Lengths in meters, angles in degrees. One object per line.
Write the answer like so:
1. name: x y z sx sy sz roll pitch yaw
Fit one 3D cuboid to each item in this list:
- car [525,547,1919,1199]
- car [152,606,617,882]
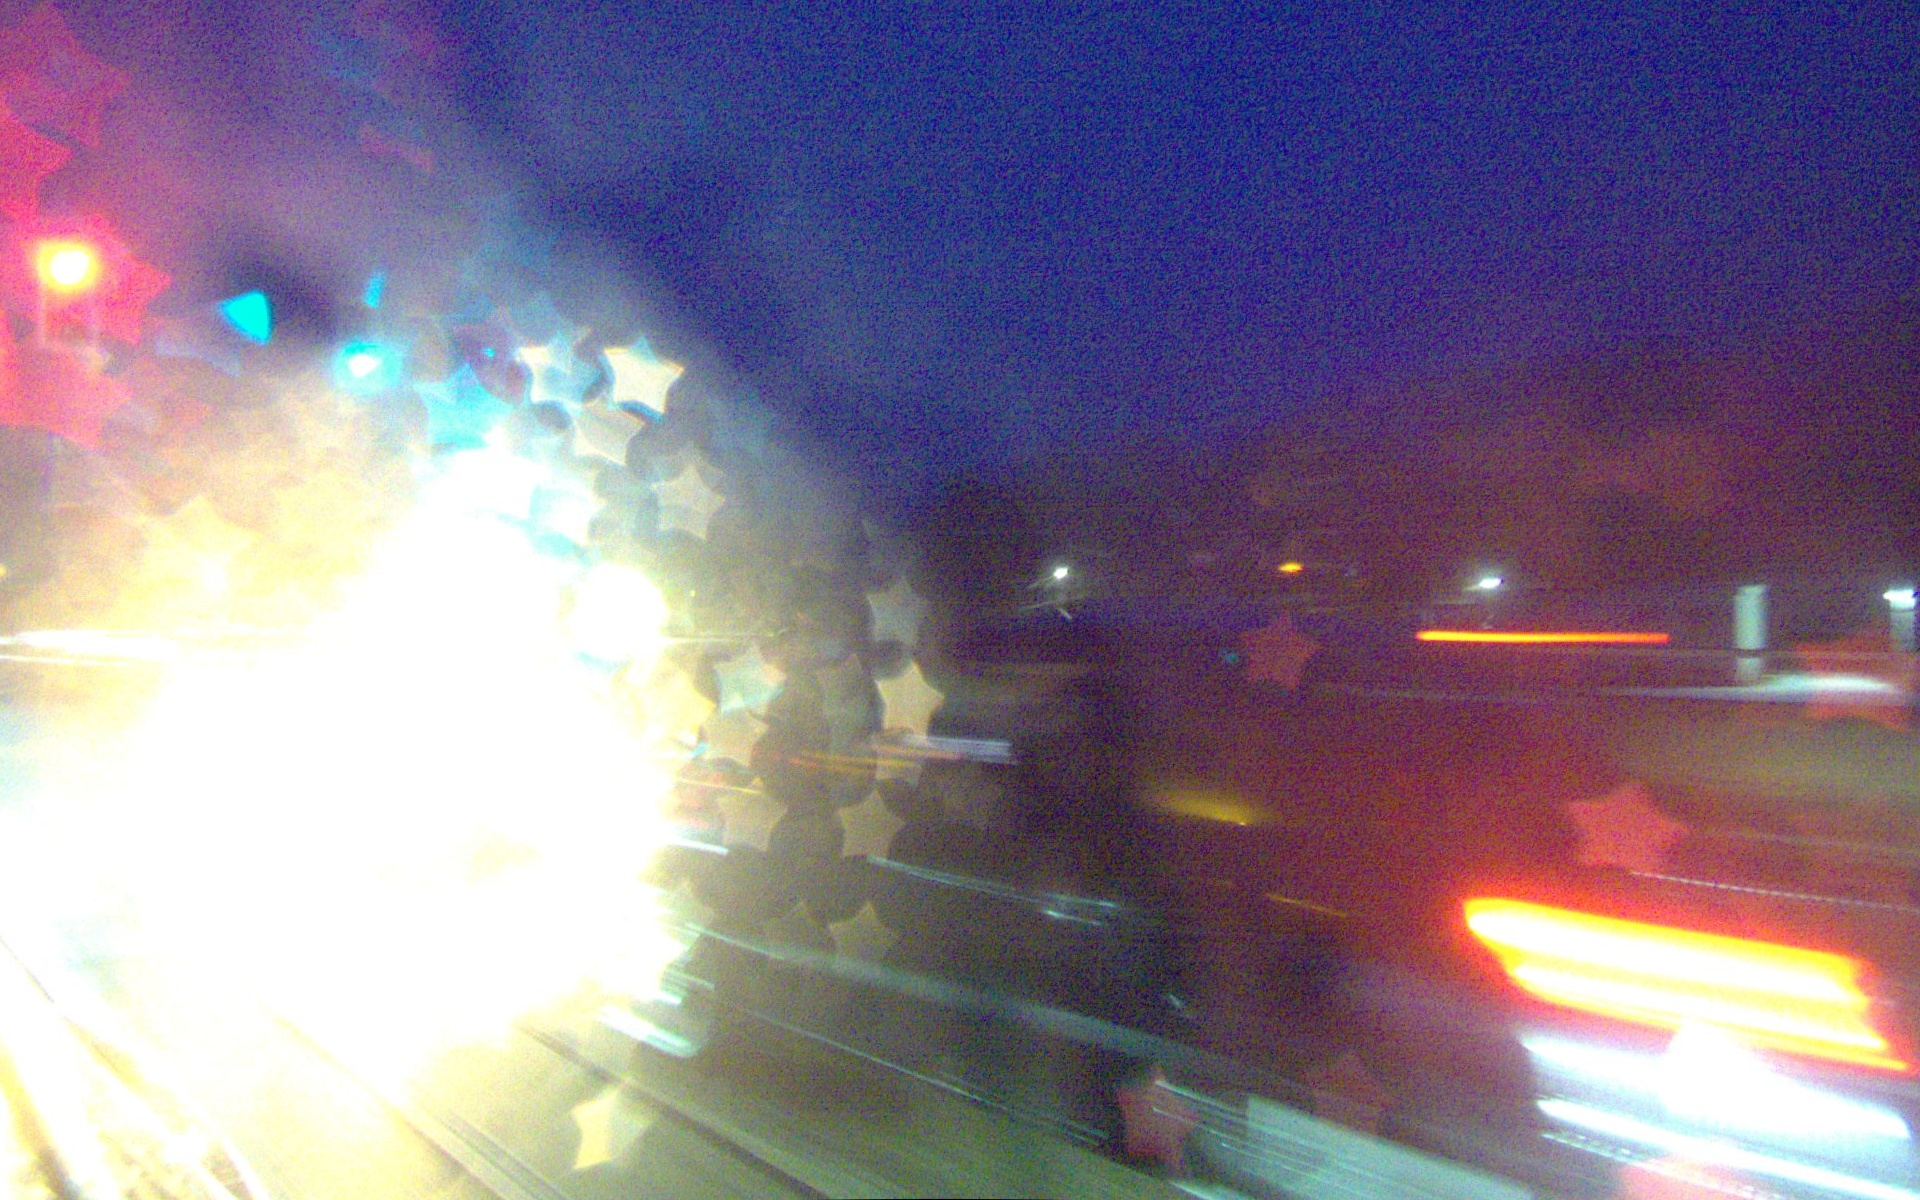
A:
1. car: 0.413 0.709 3.036 3.882 1.484 1.605 -2 -1 40
2. car: -4.236 0.816 7.257 3.628 1.484 1.653 -2 -1 38
